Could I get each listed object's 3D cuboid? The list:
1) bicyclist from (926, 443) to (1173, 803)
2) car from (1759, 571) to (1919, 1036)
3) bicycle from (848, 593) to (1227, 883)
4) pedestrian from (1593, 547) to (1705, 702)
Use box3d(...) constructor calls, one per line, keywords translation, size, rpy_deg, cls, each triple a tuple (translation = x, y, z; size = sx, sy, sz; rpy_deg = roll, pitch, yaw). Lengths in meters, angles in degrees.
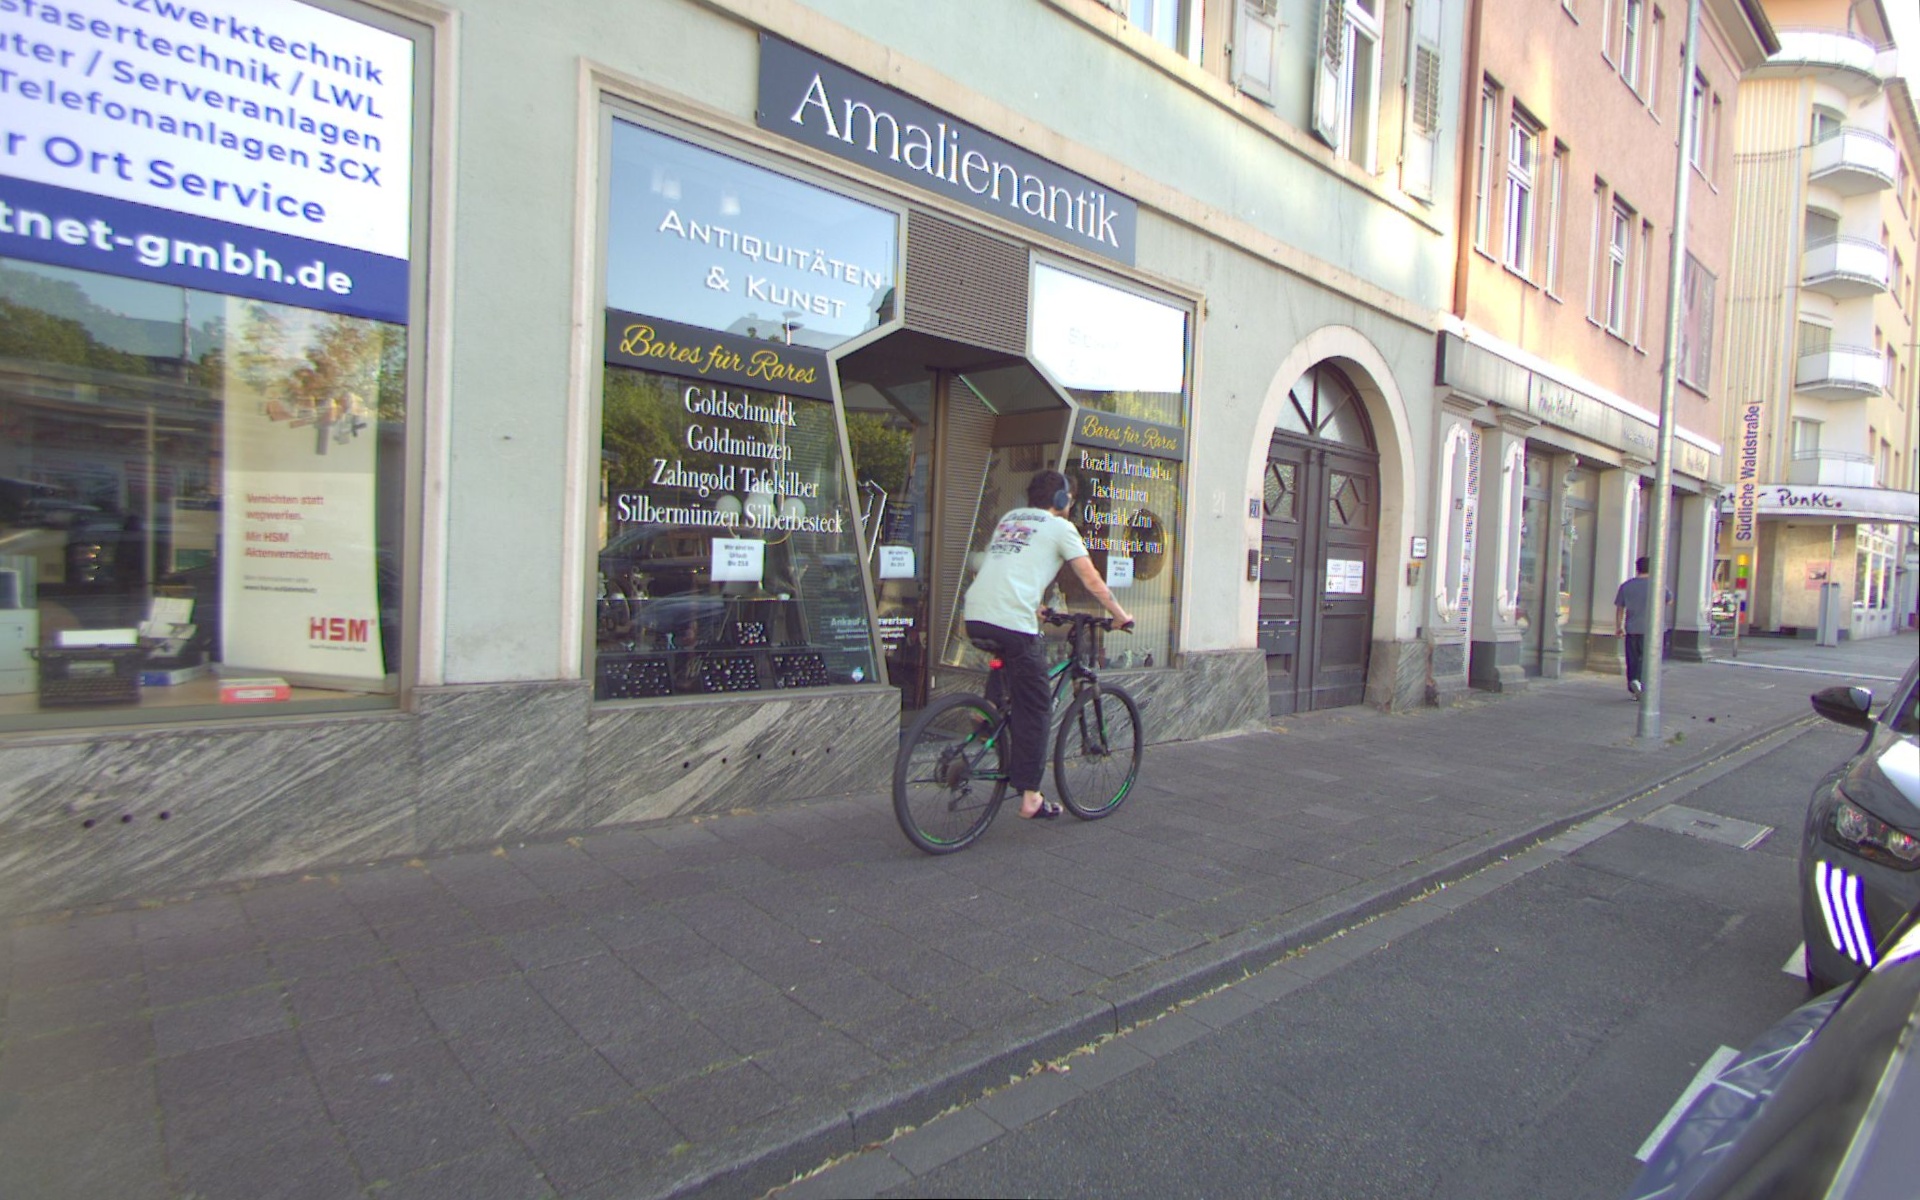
box3d(translation=(0.428, 0.082, 4.852), size=(0.884, 1.526, 0.723), rpy_deg=(1, 2, -40), cls="bicyclist")
box3d(translation=(5.043, 0.675, 4.252), size=(4.373, 1.464, 1.907), rpy_deg=(0, 2, -42), cls="car")
box3d(translation=(0.439, 0.548, 4.886), size=(1.863, 1.121, 0.691), rpy_deg=(0, 2, -42), cls="bicycle")
box3d(translation=(7.874, 0.252, 11.572), size=(0.857, 1.662, 0.824), rpy_deg=(0, 3, -43), cls="pedestrian")
